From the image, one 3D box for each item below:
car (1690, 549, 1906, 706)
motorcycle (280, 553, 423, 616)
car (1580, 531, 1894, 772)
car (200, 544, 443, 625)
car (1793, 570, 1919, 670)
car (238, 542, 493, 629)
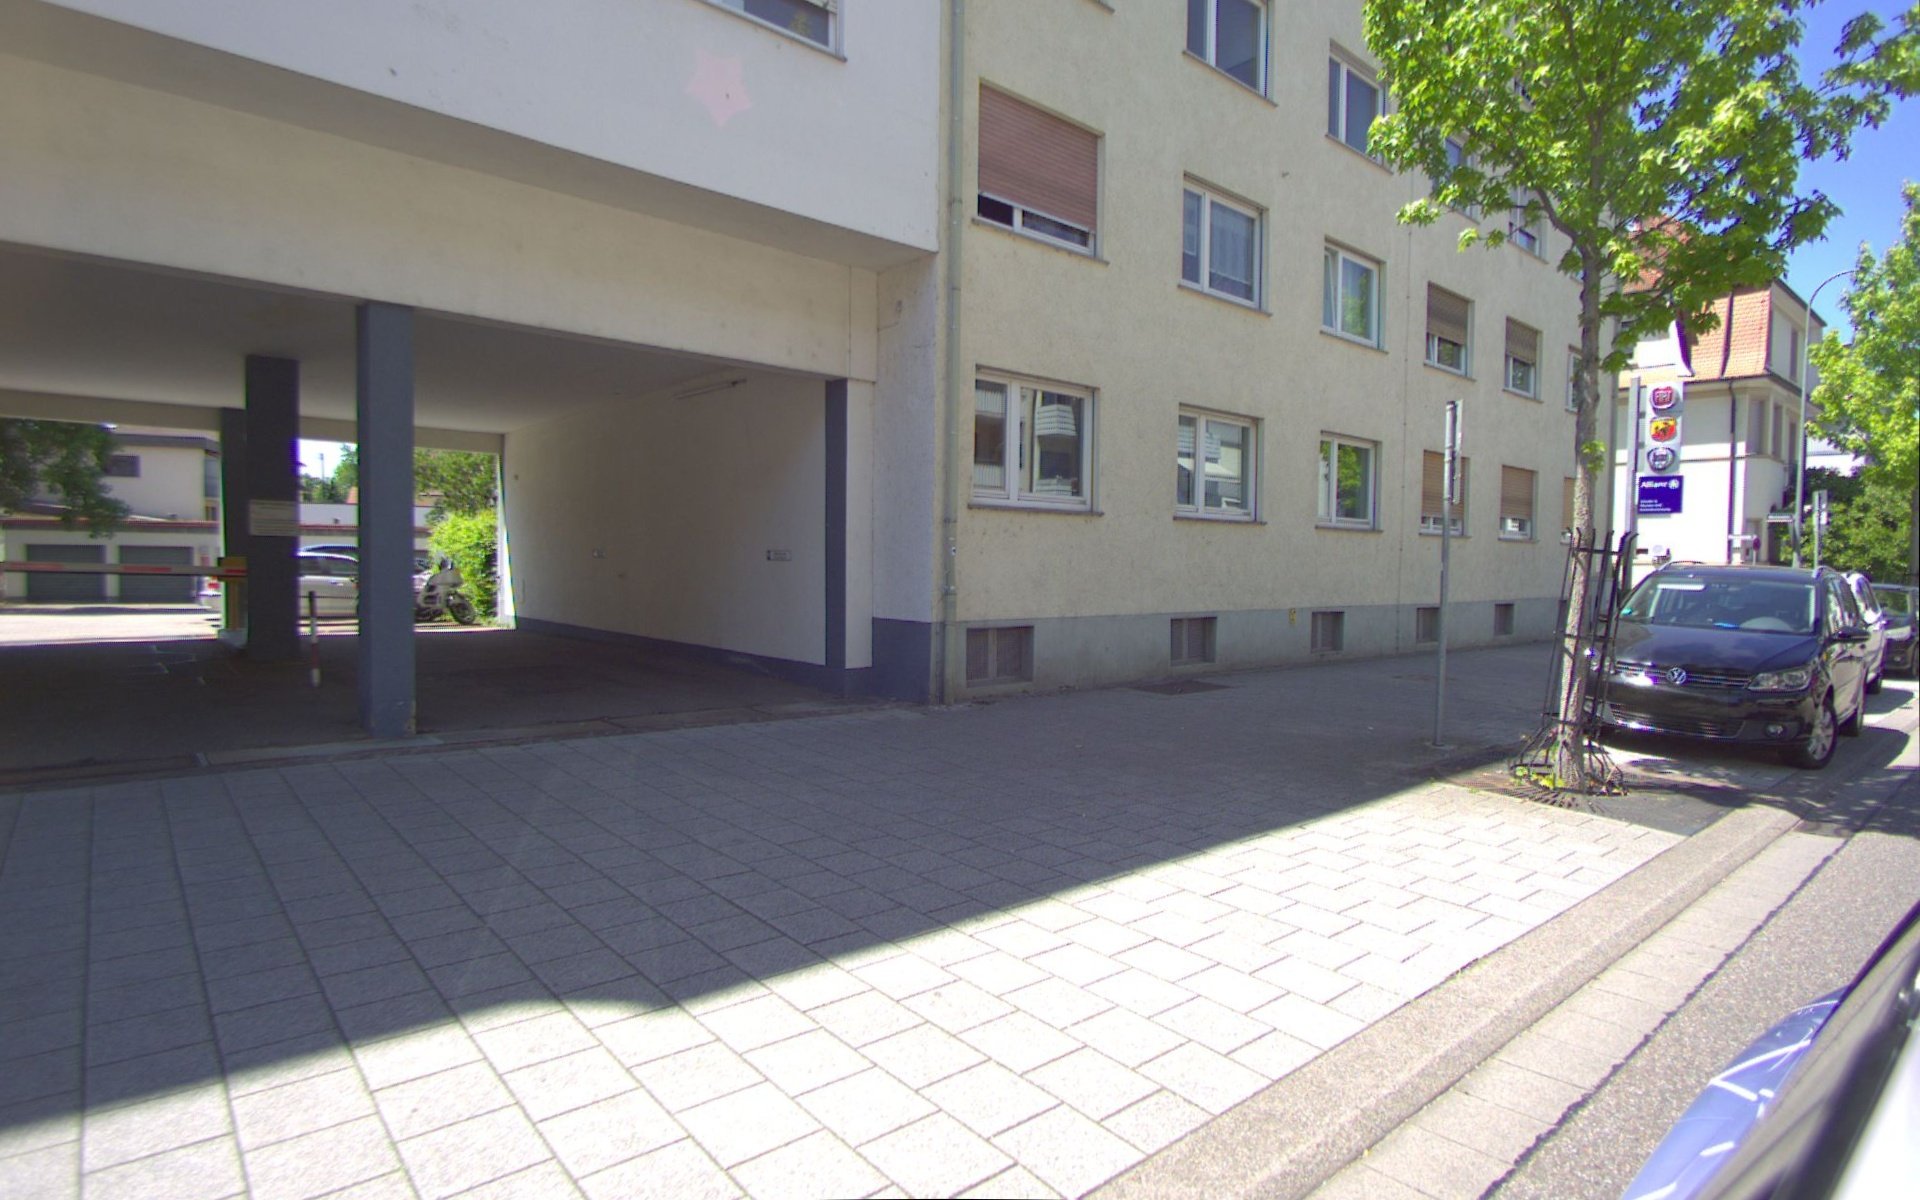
[{"bbox_3d":[11.124,0.258,13.330,4.065,1.743,1.690,-1,2,-44],"label":"car"},{"bbox_3d":[-13.487,-0.356,22.469,2.558,1.308,1.308,-1,2,-41],"label":"motorcycle"},{"bbox_3d":[7.422,0.332,9.518,3.934,1.742,1.691,-1,5,-44],"label":"car"},{"bbox_3d":[-12.770,-0.332,20.359,3.931,1.471,1.732,-1,2,-41],"label":"car"},{"bbox_3d":[15.848,0.275,17.357,4.061,1.506,1.692,-1,2,-41],"label":"car"},{"bbox_3d":[-11.190,-0.300,19.181,3.931,1.471,1.732,-1,2,-41],"label":"car"}]
